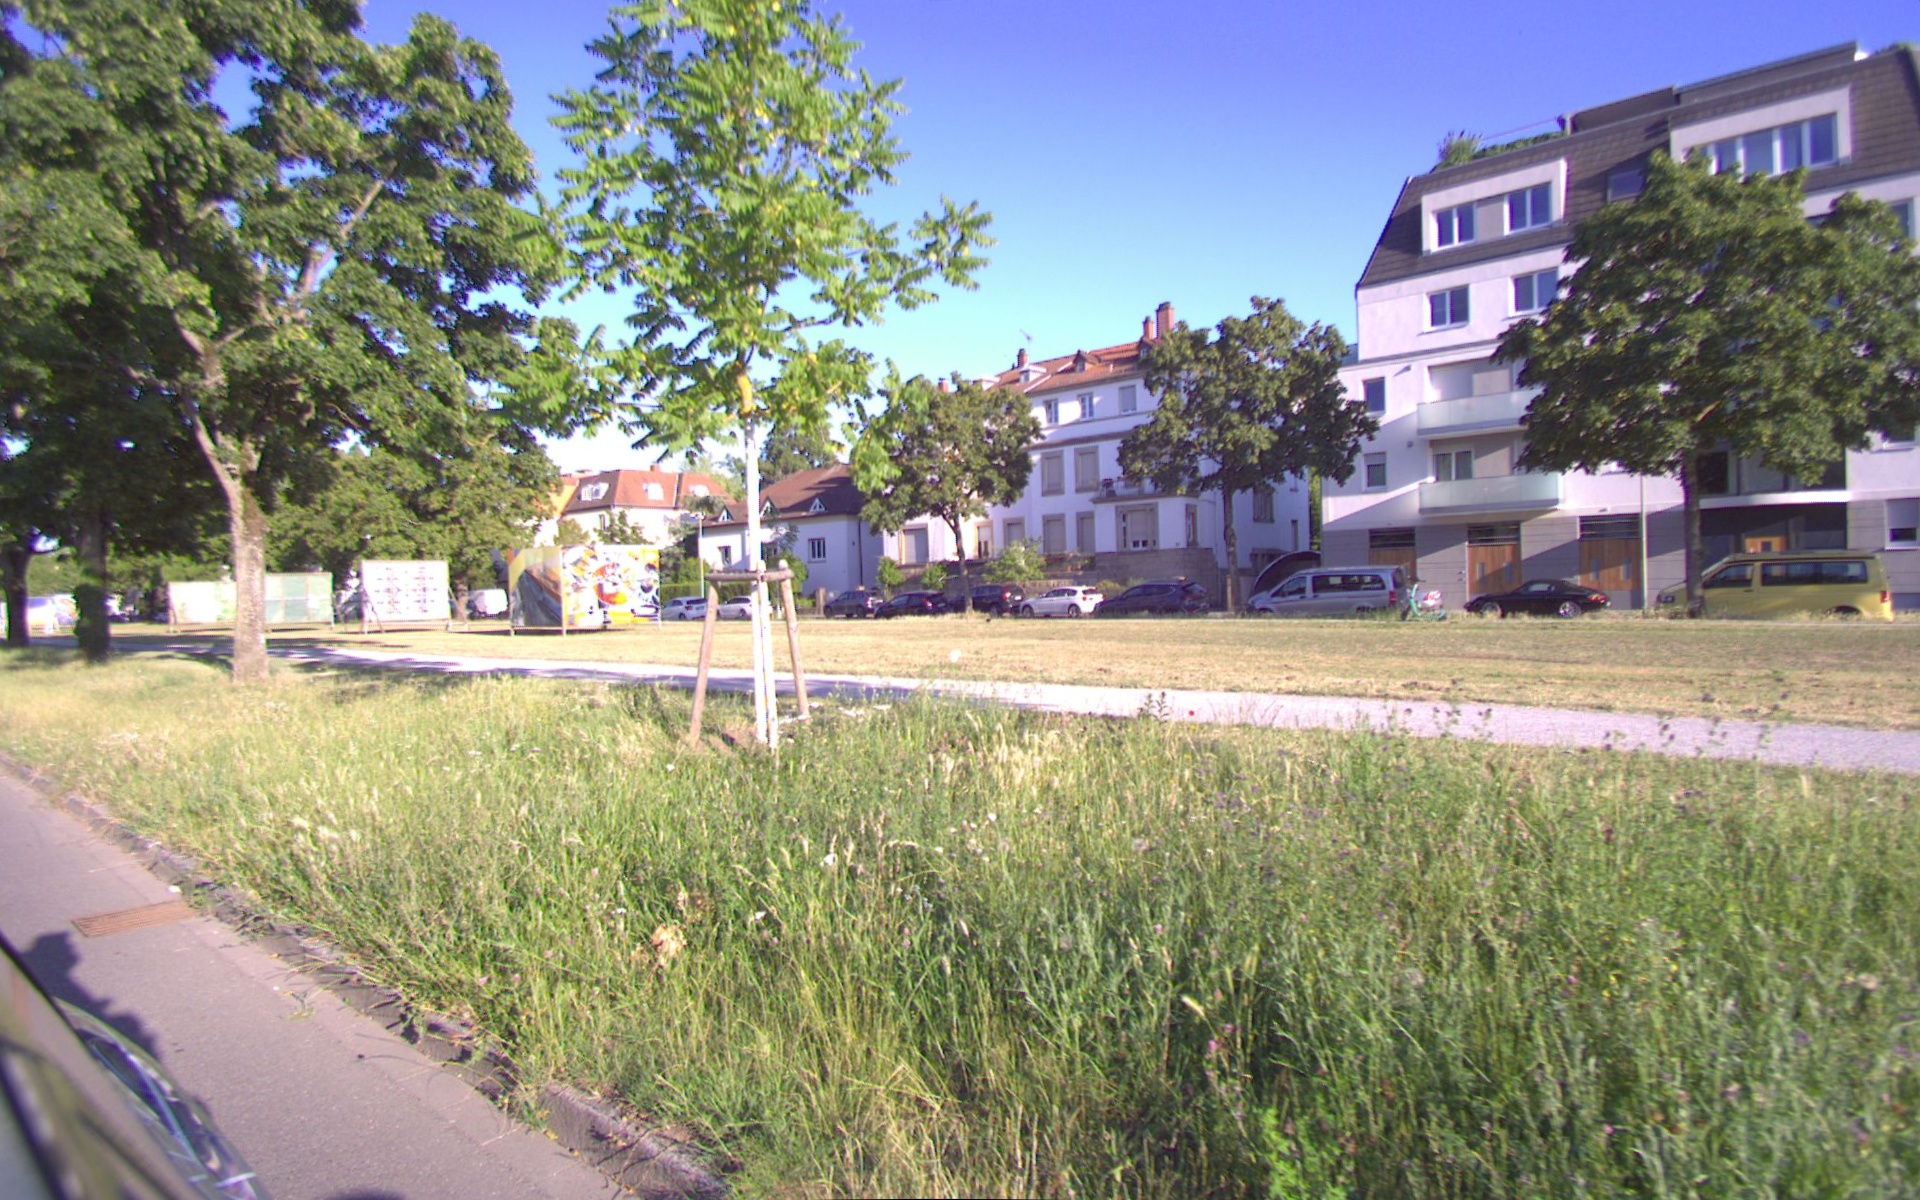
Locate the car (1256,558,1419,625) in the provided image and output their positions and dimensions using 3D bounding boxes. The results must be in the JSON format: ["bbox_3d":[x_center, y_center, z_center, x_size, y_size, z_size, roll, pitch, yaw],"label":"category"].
[{"bbox_3d":[12.371,-0.246,33.289,4.571,2.029,2.052,-1,0,40],"label":"car"}]

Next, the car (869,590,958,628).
[{"bbox_3d":[-2.118,0.411,45.763,3.834,1.592,1.802,-1,1,41],"label":"car"}]

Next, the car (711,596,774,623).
[{"bbox_3d":[-13.560,0.604,63.058,3.965,1.592,1.802,-1,1,41],"label":"car"}]

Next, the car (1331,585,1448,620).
[{"bbox_3d":[15.858,0.108,37.401,3.724,1.249,1.606,-1,0,37],"label":"car"}]

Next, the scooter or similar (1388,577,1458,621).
[{"bbox_3d":[12.396,-0.014,27.122,1.648,1.124,0.447,-1,1,41],"label":"scooter or similar"}]

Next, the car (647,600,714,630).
[{"bbox_3d":[-15.874,0.844,57.475,3.834,1.592,1.802,-1,1,41],"label":"car"}]

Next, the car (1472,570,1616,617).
[{"bbox_3d":[19.826,-0.202,34.436,3.998,1.474,1.655,-1,1,41],"label":"car"}]

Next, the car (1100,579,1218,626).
[{"bbox_3d":[7.285,0.095,37.065,3.827,1.592,1.805,-1,1,35],"label":"car"}]

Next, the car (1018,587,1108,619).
[{"bbox_3d":[4.781,0.154,47.268,4.005,1.457,1.621,-1,0,40],"label":"car"}]

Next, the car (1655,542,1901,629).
[{"bbox_3d":[20.705,-0.315,25.834,4.690,2.029,2.006,-1,0,40],"label":"car"}]

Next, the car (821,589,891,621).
[{"bbox_3d":[-5.809,0.309,56.328,3.999,1.674,1.621,-1,1,42],"label":"car"}]

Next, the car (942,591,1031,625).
[{"bbox_3d":[1.292,0.421,50.255,4.160,1.592,1.802,-1,1,41],"label":"car"}]
